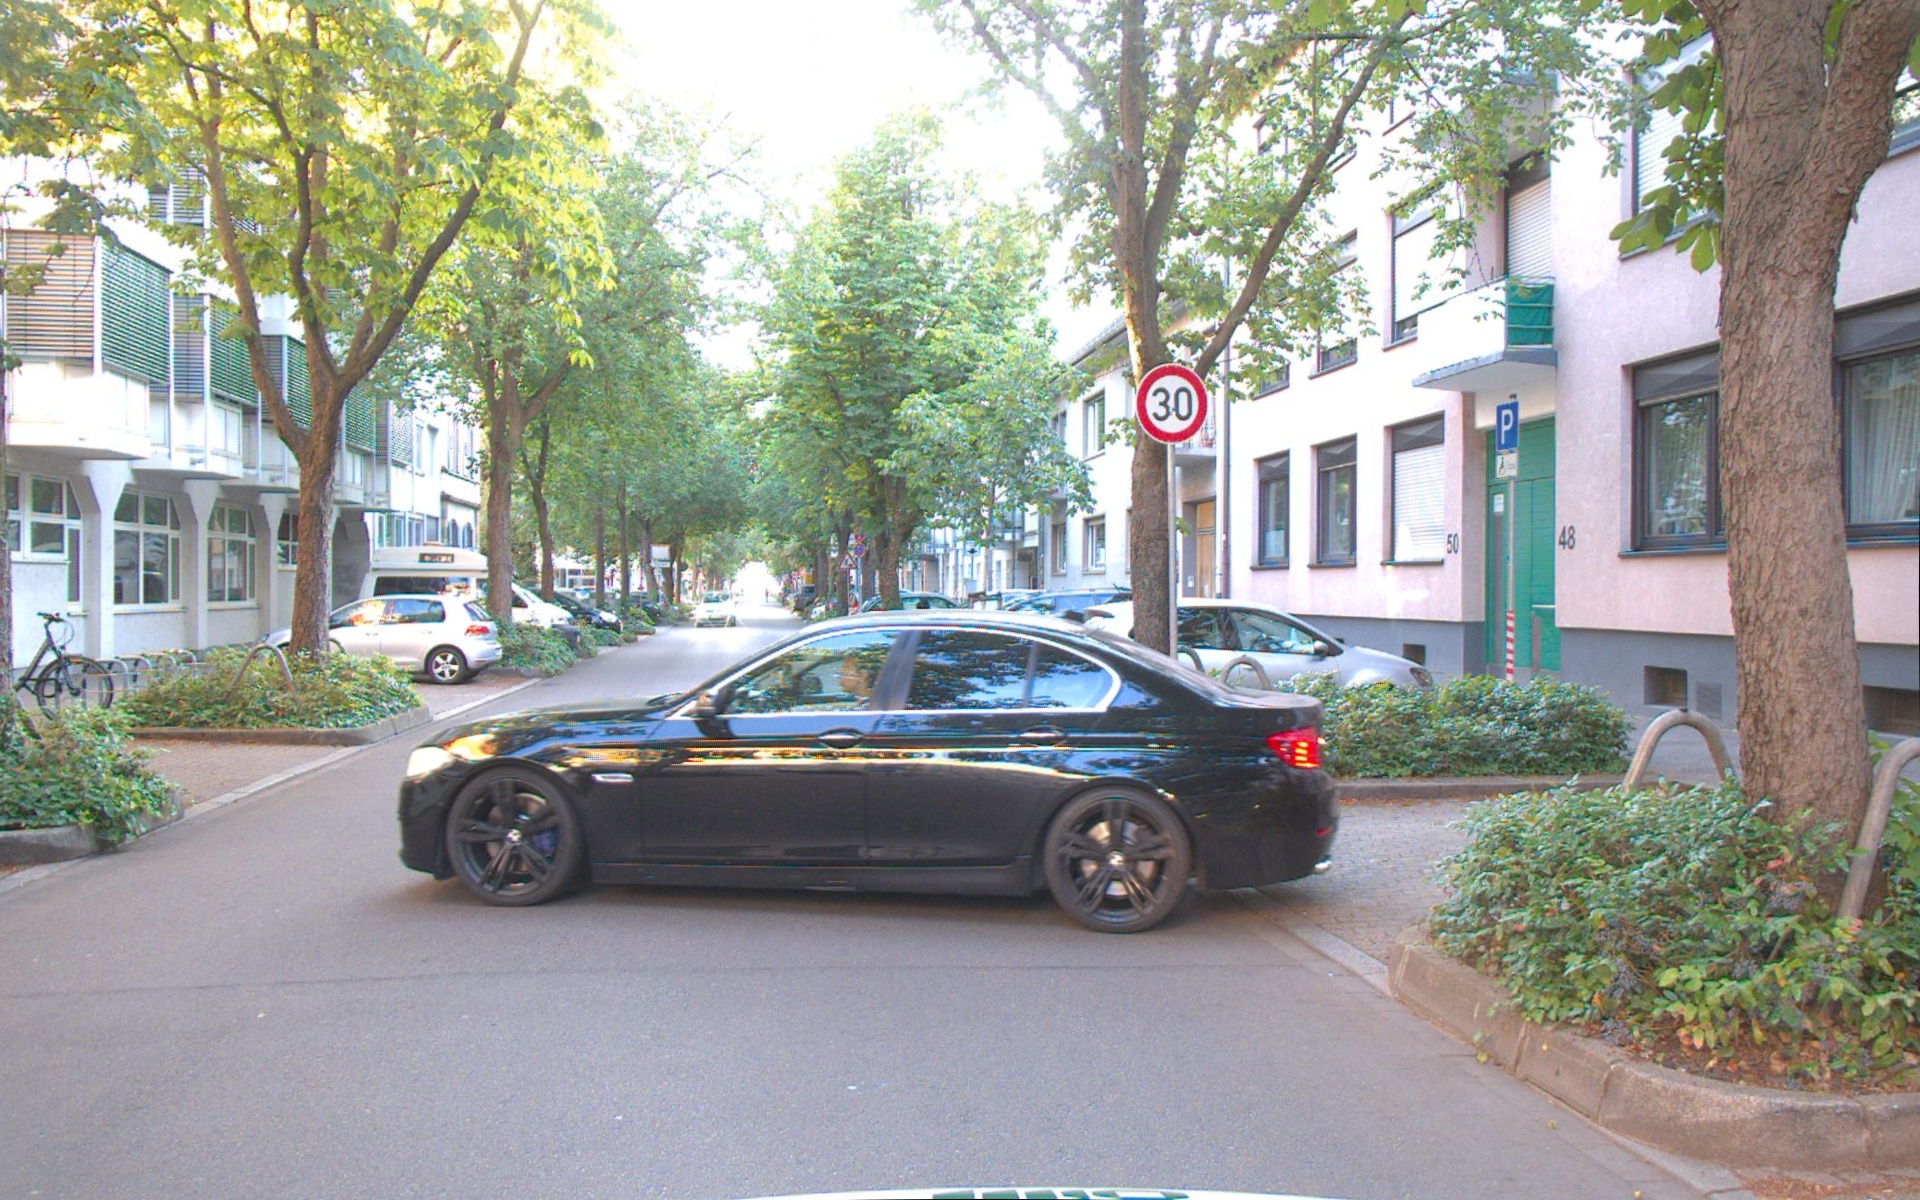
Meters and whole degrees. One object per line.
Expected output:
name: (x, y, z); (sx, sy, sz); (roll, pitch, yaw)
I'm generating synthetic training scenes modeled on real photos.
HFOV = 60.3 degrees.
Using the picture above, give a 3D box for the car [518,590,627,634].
car: (-15.026, 0.444, 64.269); (3.891, 1.647, 1.783); (0, 0, -6)

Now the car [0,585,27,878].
car: (-7.111, 0.708, 7.865); (4.272, 1.544, 1.782); (0, 0, -7)

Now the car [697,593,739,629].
car: (-11.046, 0.466, 75.594); (1.745, 1.589, 4.162); (0, 0, -6)

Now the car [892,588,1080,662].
car: (0.532, 0.526, 36.148); (3.893, 1.554, 1.782); (0, 0, -8)

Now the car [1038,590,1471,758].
car: (2.798, 0.665, 16.106); (3.836, 1.502, 1.661); (0, 0, -9)

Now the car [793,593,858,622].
car: (-8.185, 0.468, 100.641); (3.891, 1.713, 1.783); (0, 0, -6)

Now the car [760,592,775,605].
car: (-23.519, -0.212, 202.494); (1.787, 1.557, 3.995); (-1, 0, -6)

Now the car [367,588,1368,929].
car: (-0.398, 0.697, 8.468); (4.644, 1.506, 1.801); (0, 0, 7)

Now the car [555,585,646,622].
car: (-16.454, 0.158, 75.875); (3.891, 1.647, 1.783); (0, 0, -6)

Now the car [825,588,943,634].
car: (-2.641, 0.363, 56.776); (3.894, 1.554, 1.782); (0, 0, -9)

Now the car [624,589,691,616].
car: (-18.631, 0.164, 102.053); (3.891, 1.647, 1.783); (0, 0, -6)

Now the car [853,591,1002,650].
car: (-0.920, 0.535, 44.936); (3.893, 1.554, 1.782); (0, 0, -8)

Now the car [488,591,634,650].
car: (-11.503, 0.566, 47.856); (3.892, 1.647, 1.783); (0, 0, -6)

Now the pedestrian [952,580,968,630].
pedestrian: (0.009, 0.206, 67.771); (0.577, 2.049, 0.669); (0, 0, -6)

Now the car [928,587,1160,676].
car: (1.465, 0.536, 29.691); (3.894, 1.502, 1.781); (0, 0, -9)

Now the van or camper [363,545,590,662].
van or camper: (-10.683, 0.058, 36.878); (4.575, 2.521, 1.997); (0, 0, -7)

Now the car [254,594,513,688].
car: (-9.872, 0.682, 28.576); (3.892, 1.544, 1.783); (0, 0, -6)
